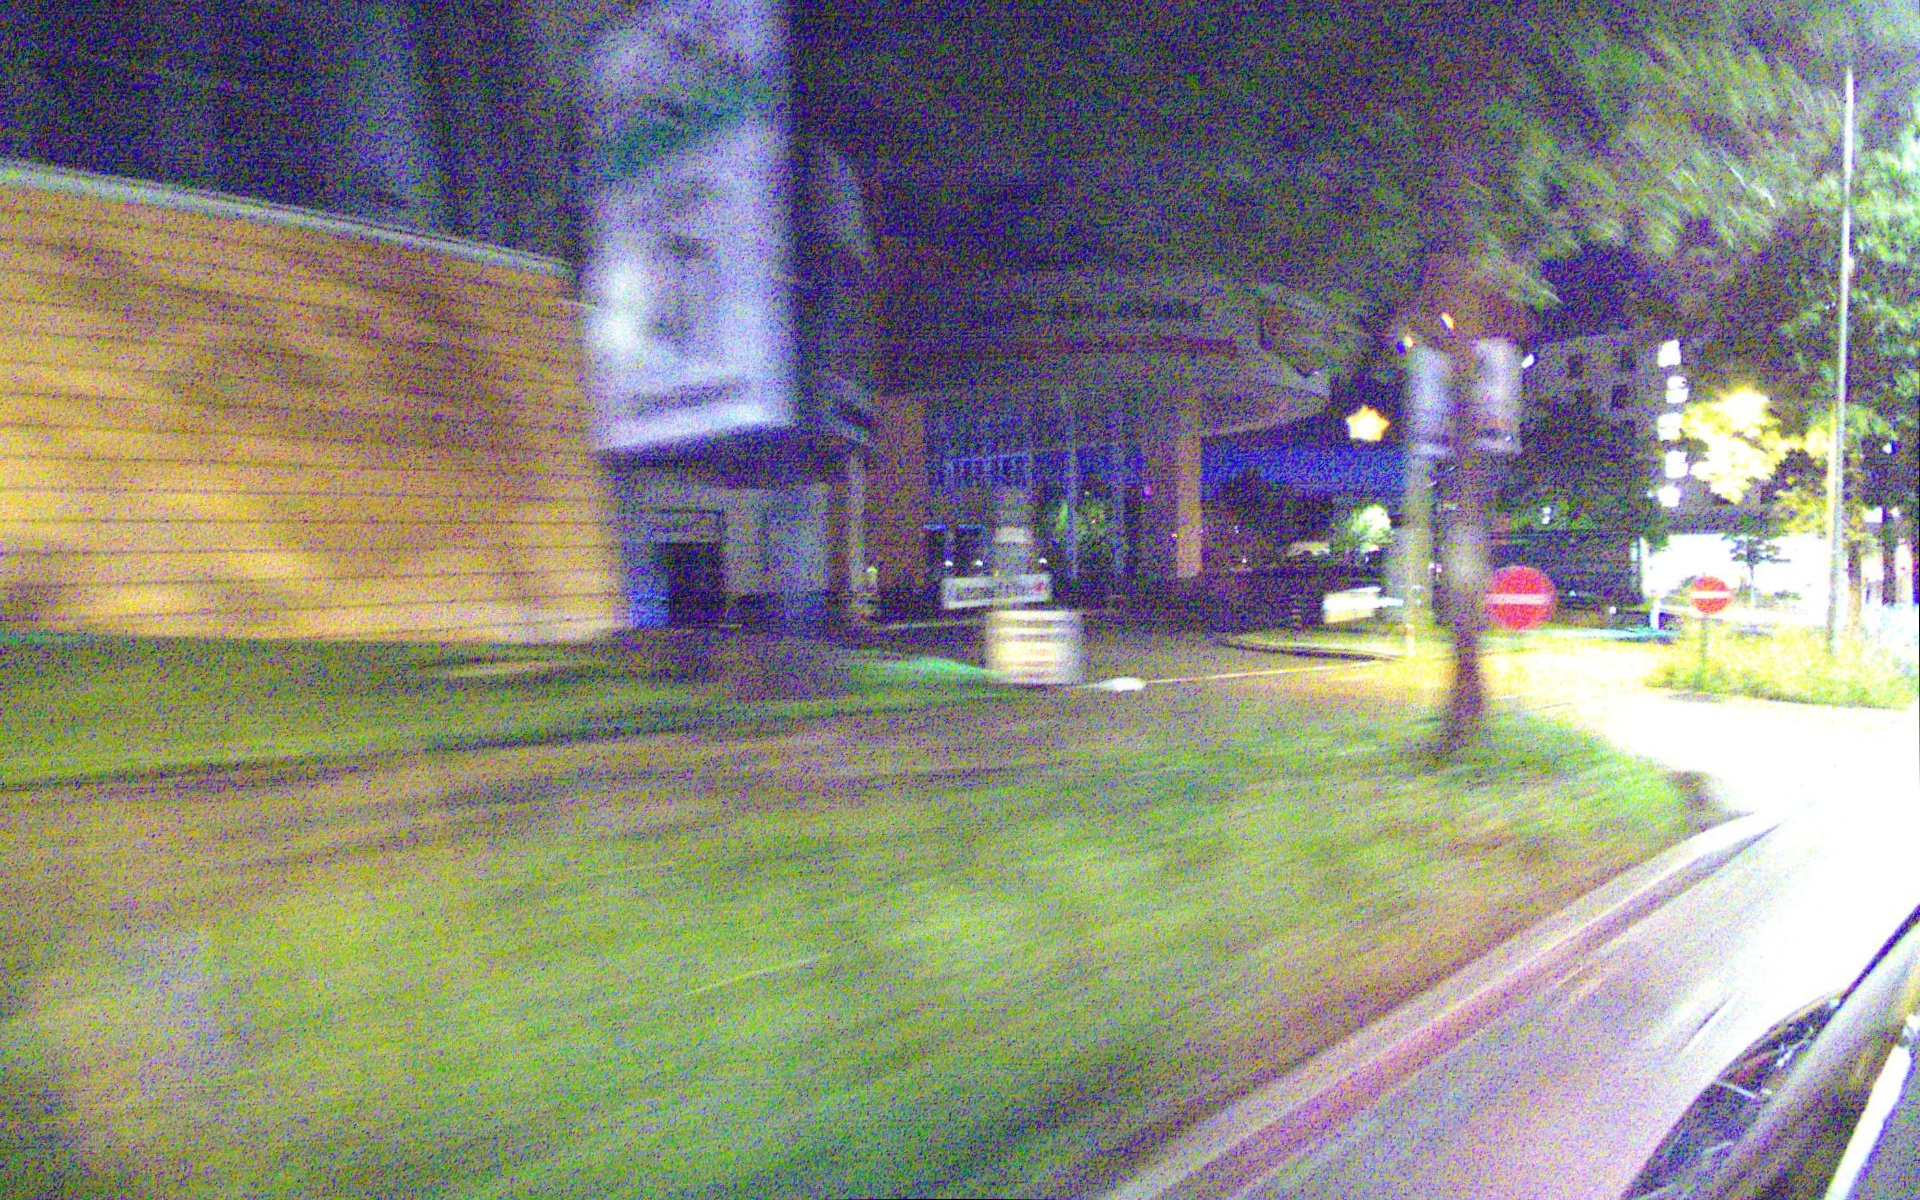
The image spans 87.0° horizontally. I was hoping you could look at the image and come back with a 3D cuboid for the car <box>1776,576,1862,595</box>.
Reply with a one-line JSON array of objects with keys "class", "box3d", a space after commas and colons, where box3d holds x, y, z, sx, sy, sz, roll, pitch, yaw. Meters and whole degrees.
[{"class": "car", "box3d": [55.020, -0.932, 64.882, 3.933, 1.047, 1.481, 2, 1, 8]}]
